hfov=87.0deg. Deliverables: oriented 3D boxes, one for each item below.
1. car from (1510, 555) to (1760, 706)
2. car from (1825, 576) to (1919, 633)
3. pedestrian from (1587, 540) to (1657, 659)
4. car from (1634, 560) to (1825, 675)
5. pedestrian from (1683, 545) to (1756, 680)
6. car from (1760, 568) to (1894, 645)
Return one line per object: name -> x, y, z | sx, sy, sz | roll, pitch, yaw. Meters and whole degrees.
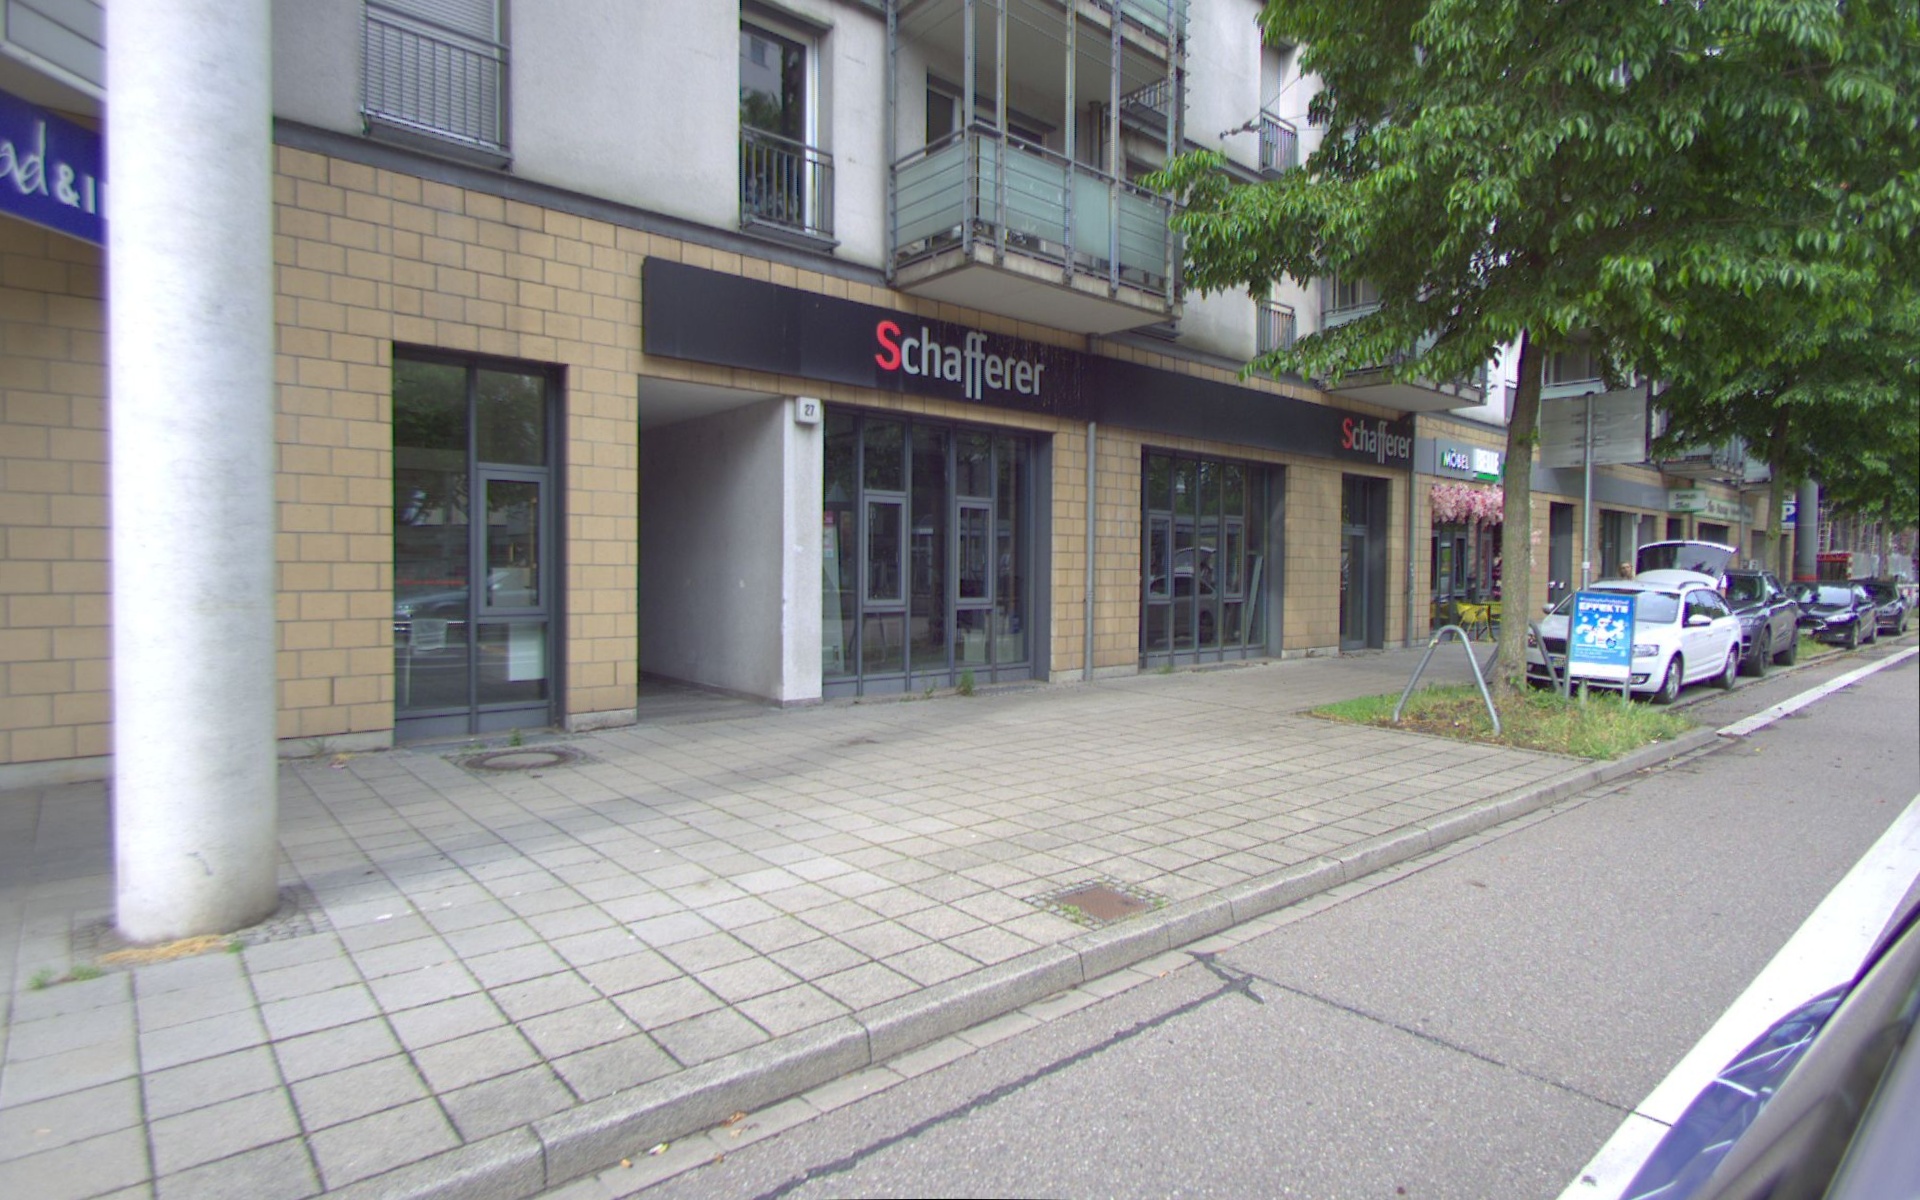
car -> 9.195, 0.289, 13.667 | 4.032, 1.681, 1.730 | -1, 4, -41
car -> 25.335, 0.081, 27.846 | 3.749, 1.400, 1.730 | -1, 4, -41
pedestrian -> 10.535, -0.015, 16.103 | 0.825, 1.828, 0.744 | -1, 0, -41
car -> 12.966, 0.198, 16.978 | 3.874, 1.682, 1.730 | -1, 4, -41
pedestrian -> 11.402, 0.174, 15.196 | 0.630, 1.958, 0.655 | -1, 0, -26
car -> 19.602, 0.080, 22.846 | 3.874, 1.563, 1.684 | -1, 4, -41
